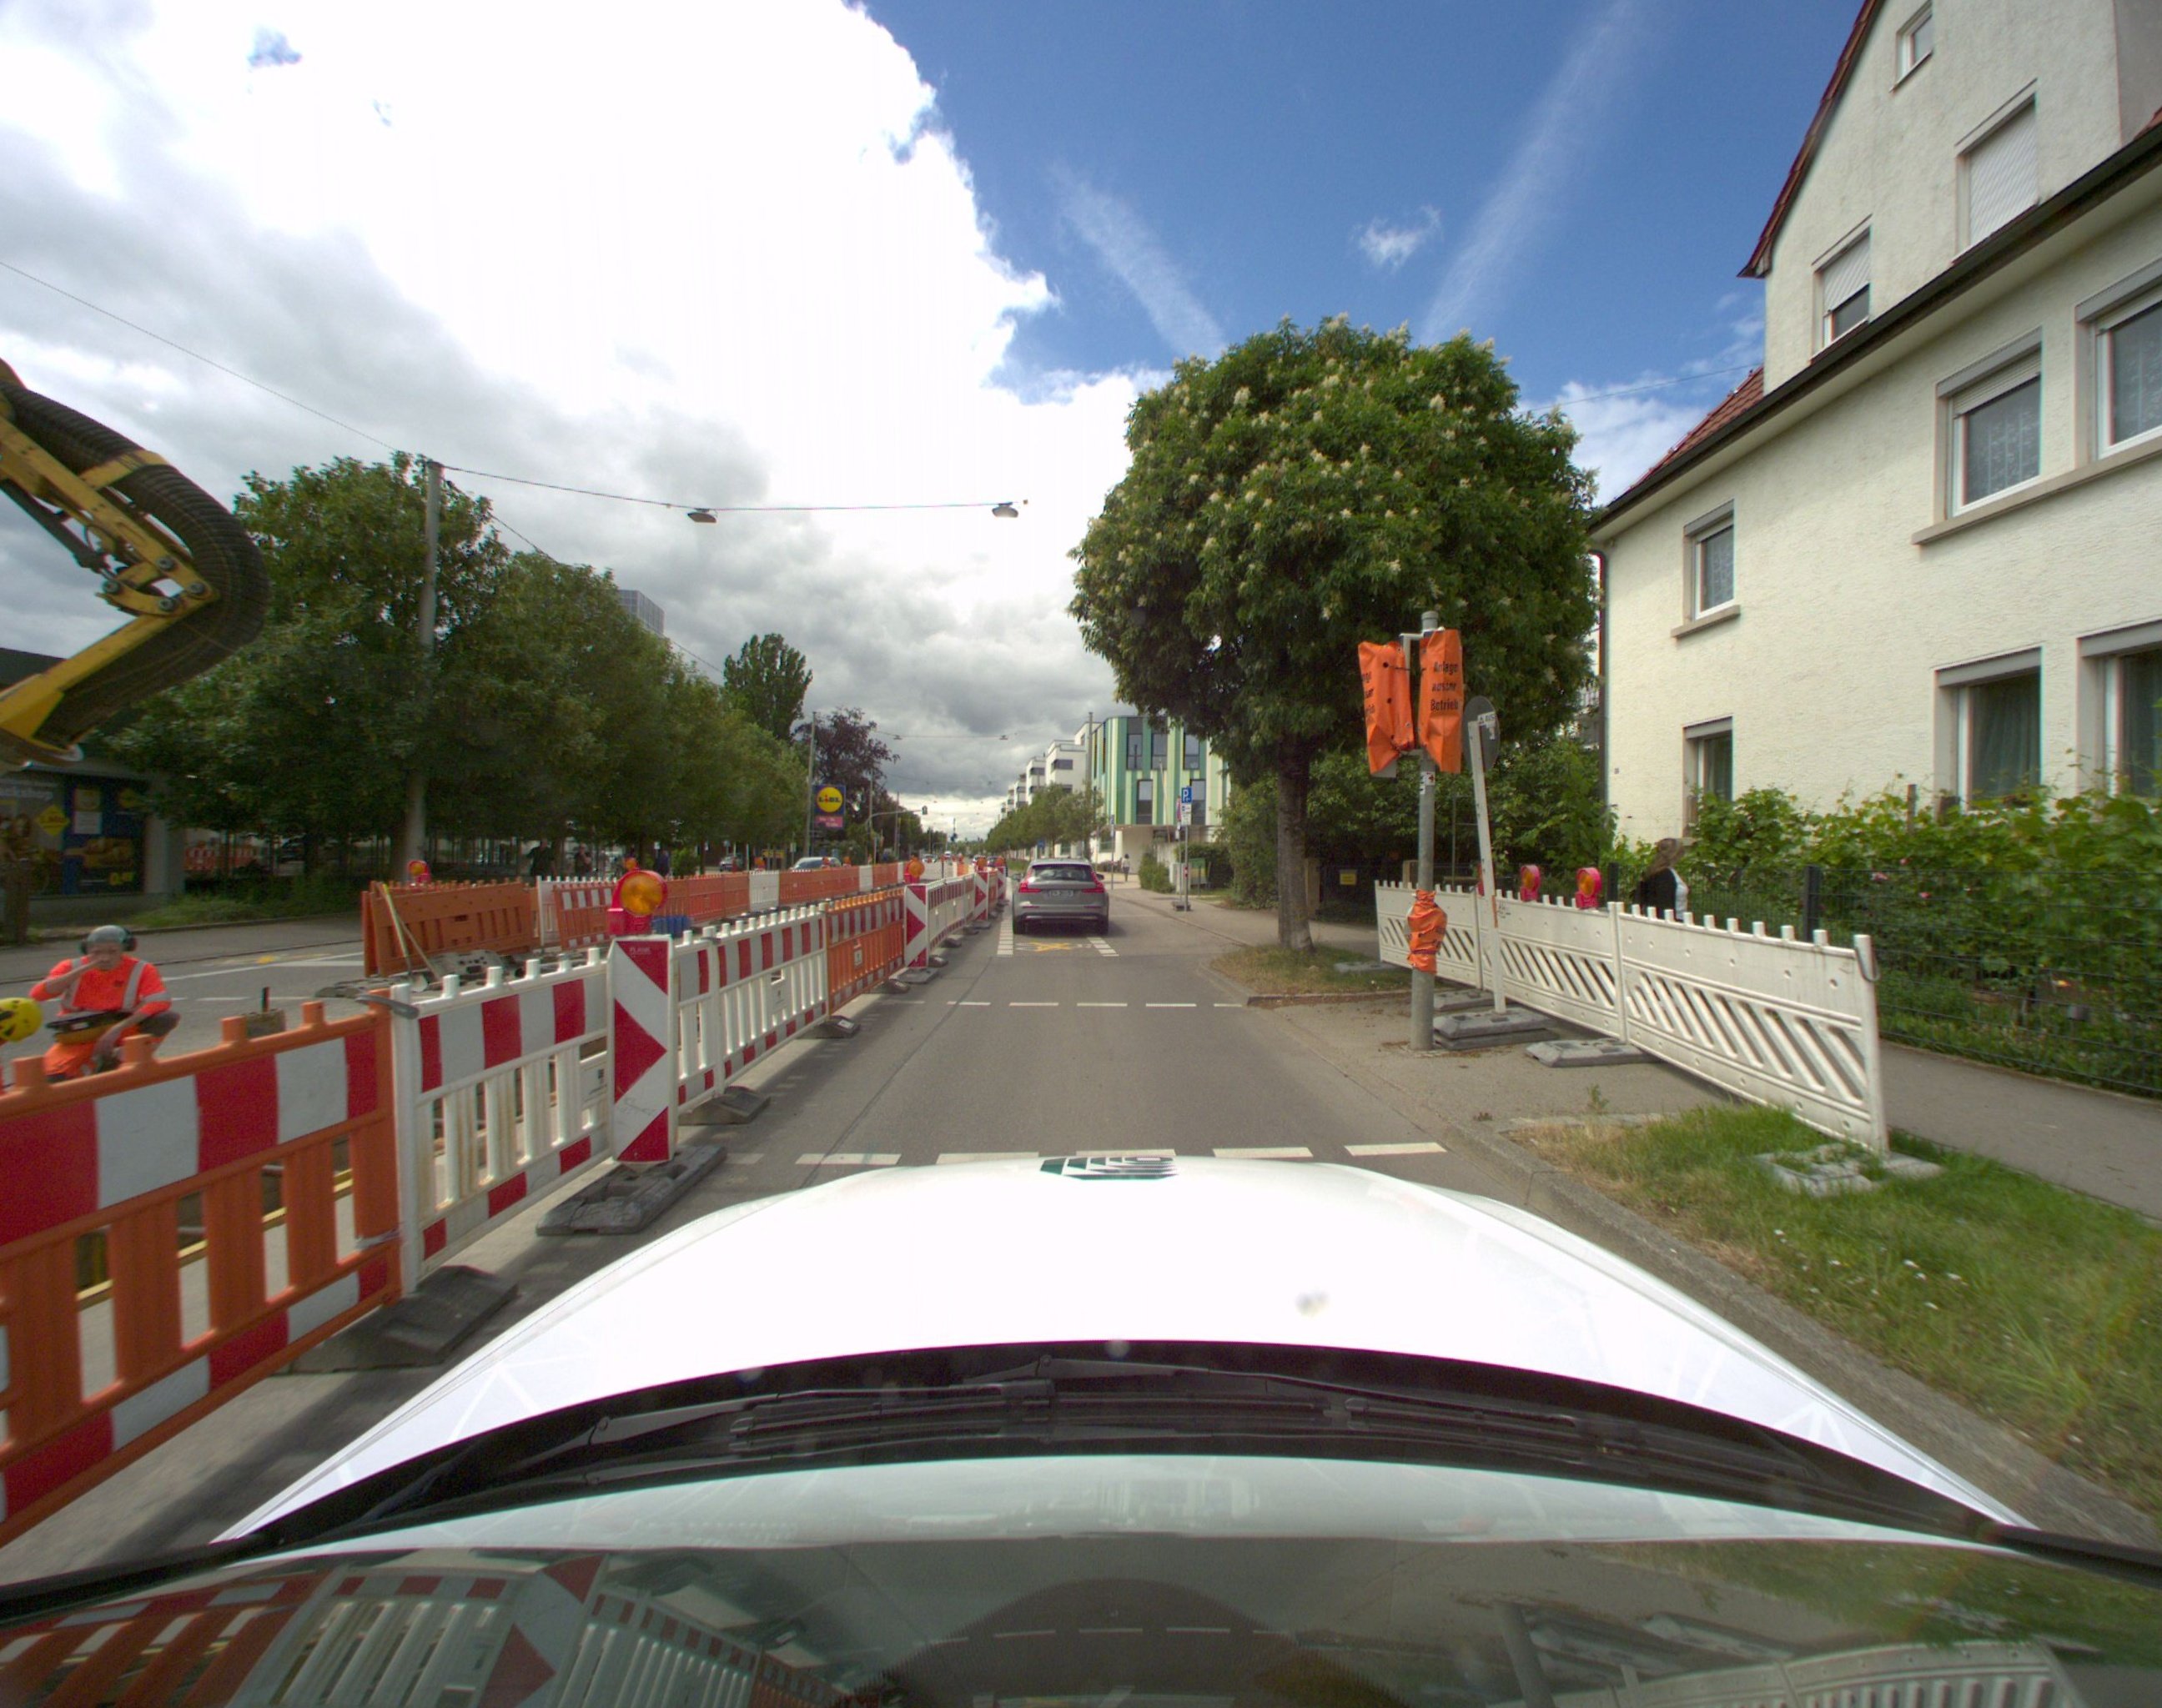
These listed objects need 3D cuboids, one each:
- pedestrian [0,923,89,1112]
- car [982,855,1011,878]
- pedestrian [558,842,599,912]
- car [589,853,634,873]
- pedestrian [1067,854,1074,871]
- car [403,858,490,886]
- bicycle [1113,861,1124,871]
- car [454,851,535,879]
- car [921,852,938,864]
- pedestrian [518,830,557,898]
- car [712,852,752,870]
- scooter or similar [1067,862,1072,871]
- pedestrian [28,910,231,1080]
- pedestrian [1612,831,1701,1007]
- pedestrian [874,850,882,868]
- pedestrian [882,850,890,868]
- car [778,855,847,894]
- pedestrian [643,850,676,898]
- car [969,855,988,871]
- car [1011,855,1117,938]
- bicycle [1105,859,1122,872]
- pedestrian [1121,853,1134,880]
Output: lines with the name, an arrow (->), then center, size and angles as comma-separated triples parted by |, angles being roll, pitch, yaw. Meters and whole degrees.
pedestrian -> -6.330, 0.923, 4.525 | 0.784, 0.991, 0.816 | 0, 0, 20
car -> -6.212, 0.886, 59.553 | 1.854, 1.513, 3.987 | 2, 0, -9
pedestrian -> -13.565, 0.608, 22.003 | 0.689, 1.847, 0.625 | 0, 0, 20
car -> -37.527, 0.674, 65.215 | 1.995, 1.552, 3.983 | 0, 0, -12
pedestrian -> -1.046, 0.807, 78.241 | 0.605, 1.655, 0.550 | 0, 0, -9
car -> -37.102, 1.005, 47.759 | 1.993, 1.572, 4.658 | 0, -1, -10
bicycle -> 3.093, 1.019, 67.572 | 1.030, 0.842, 0.303 | 0, 0, -41
car -> -34.715, 0.636, 48.364 | 1.993, 1.572, 4.658 | 0, -1, -10
car -> -19.914, 0.540, 107.076 | 1.851, 1.513, 3.994 | 0, 0, -4
pedestrian -> -14.862, 0.269, 22.274 | 0.620, 1.847, 0.625 | 0, 0, 20
car -> -28.415, 0.585, 66.403 | 1.993, 1.453, 3.988 | 0, 0, -9
scooter or similar -> -1.080, 1.182, 77.778 | 0.421, 0.905, 0.680 | 0, 0, -9
pedestrian -> -6.525, 0.920, 5.606 | 0.634, 0.991, 0.798 | 0, 0, 30
pedestrian -> 5.320, 0.567, 7.532 | 0.628, 1.540, 0.525 | 0, 0, 40
pedestrian -> -20.421, 0.506, 81.843 | 0.681, 1.854, 0.704 | 0, -1, -9
pedestrian -> -19.634, 0.518, 82.036 | 0.681, 1.854, 0.890 | 0, -1, -8
car -> -10.897, 0.801, 33.319 | 1.852, 1.453, 3.991 | 2, 0, -6
pedestrian -> -14.208, 0.659, 27.468 | 0.752, 1.603, 0.827 | 0, 0, -11
car -> -10.709, 0.919, 84.892 | 1.844, 1.513, 3.987 | 2, 0, -9
car -> -0.473, 0.773, 16.924 | 1.852, 1.513, 3.991 | 0, 0, -6
bicycle -> 2.750, 0.959, 68.607 | 1.470, 1.046, 0.305 | 0, 0, -21
pedestrian -> 2.639, 0.713, 46.621 | 0.580, 1.551, 0.866 | 0, 0, -9
